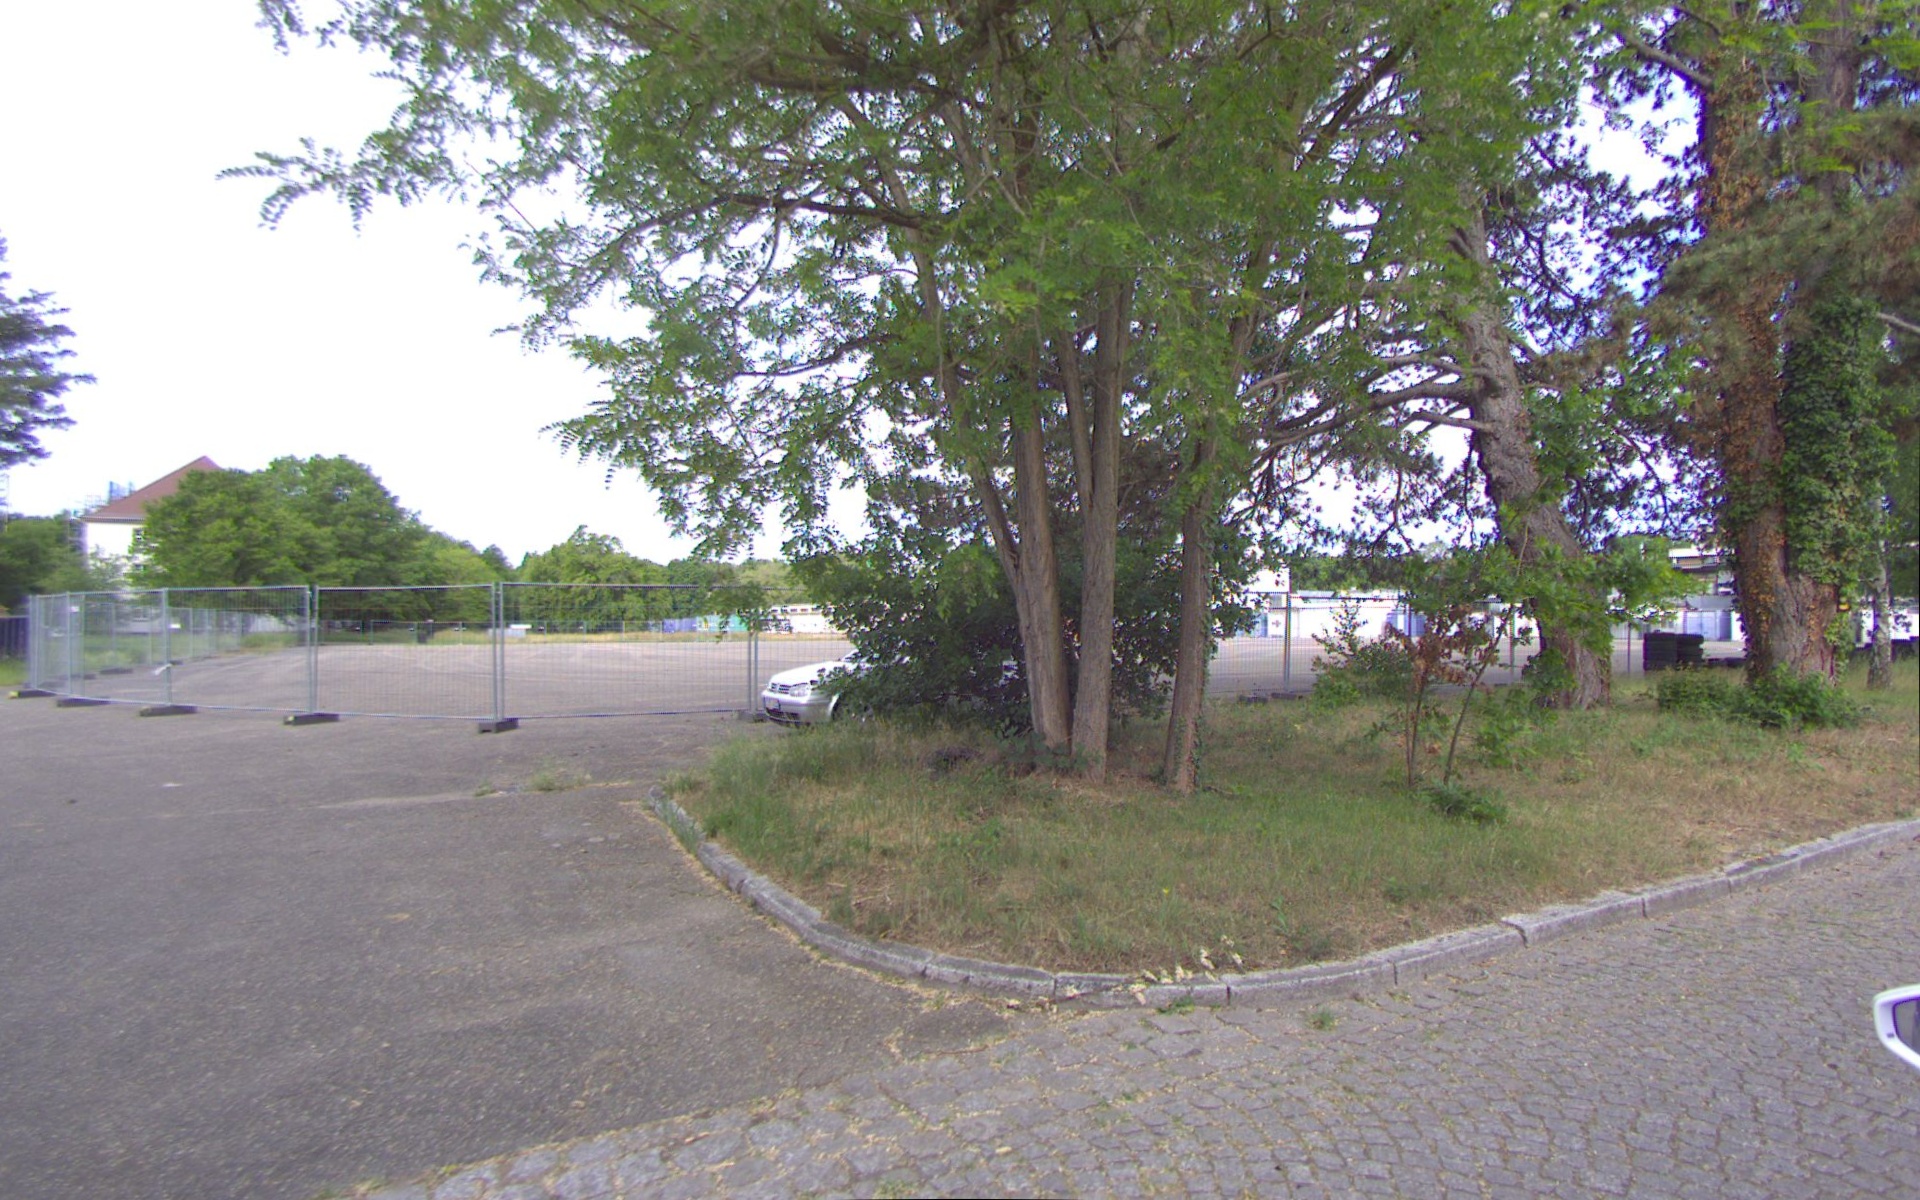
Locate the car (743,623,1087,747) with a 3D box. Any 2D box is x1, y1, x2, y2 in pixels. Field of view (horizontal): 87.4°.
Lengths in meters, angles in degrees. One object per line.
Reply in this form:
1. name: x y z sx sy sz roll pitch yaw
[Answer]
1. car: -0.543 1.034 13.632 4.373 1.435 1.814 1 -1 -32
